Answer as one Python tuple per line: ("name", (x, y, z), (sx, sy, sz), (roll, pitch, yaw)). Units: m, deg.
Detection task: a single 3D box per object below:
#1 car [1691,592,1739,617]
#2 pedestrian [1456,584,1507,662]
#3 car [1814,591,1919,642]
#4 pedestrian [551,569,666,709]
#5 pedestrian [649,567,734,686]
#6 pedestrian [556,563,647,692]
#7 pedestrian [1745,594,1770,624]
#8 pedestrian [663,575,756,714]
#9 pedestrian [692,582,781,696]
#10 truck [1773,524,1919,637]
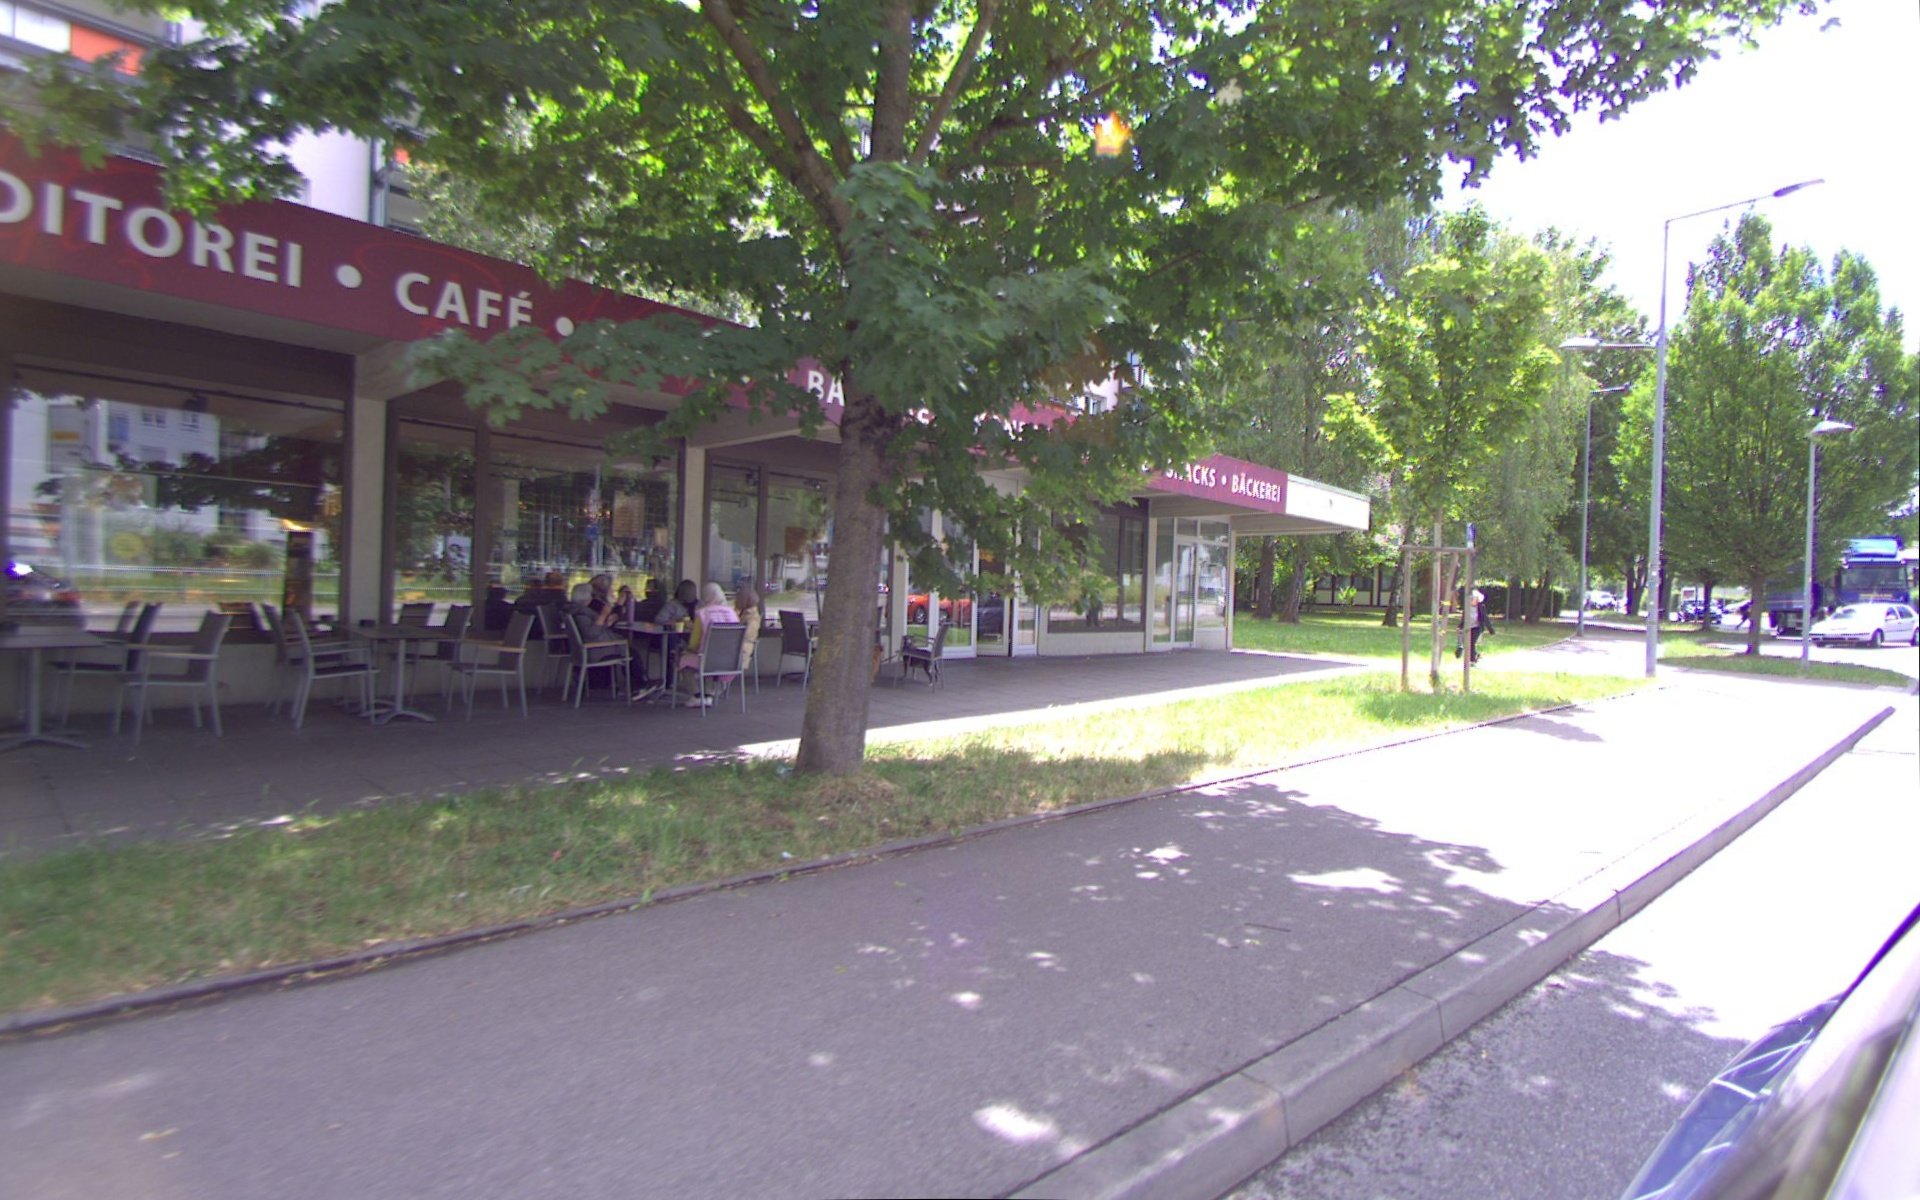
("car", (44.696, 0.232, 59.982), (1.794, 1.371, 3.958), (2, 2, 30))
("pedestrian", (10.751, 0.451, 20.859), (0.643, 1.557, 0.725), (0, 1, -43))
("car", (30.286, 0.528, 33.358), (3.745, 1.542, 1.766), (1, 1, -24))
("pedestrian", (-3.481, 0.362, 10.043), (0.672, 1.282, 0.814), (5, 3, 41))
("pedestrian", (-3.081, 0.282, 11.612), (0.672, 1.282, 0.667), (5, 4, 41))
("pedestrian", (-3.826, 0.266, 10.785), (0.676, 1.282, 0.664), (5, 4, 43))
("pedestrian", (38.848, 0.431, 49.279), (0.904, 1.442, 0.692), (0, 1, -36))
("pedestrian", (-2.486, 0.418, 10.026), (0.661, 1.282, 0.678), (0, 3, -35))
("pedestrian", (-2.470, 0.405, 11.185), (0.672, 1.165, 0.667), (5, 4, 41))
("truck", (36.494, -0.809, 41.701), (2.606, 4.144, 9.519), (2, 1, 27))
